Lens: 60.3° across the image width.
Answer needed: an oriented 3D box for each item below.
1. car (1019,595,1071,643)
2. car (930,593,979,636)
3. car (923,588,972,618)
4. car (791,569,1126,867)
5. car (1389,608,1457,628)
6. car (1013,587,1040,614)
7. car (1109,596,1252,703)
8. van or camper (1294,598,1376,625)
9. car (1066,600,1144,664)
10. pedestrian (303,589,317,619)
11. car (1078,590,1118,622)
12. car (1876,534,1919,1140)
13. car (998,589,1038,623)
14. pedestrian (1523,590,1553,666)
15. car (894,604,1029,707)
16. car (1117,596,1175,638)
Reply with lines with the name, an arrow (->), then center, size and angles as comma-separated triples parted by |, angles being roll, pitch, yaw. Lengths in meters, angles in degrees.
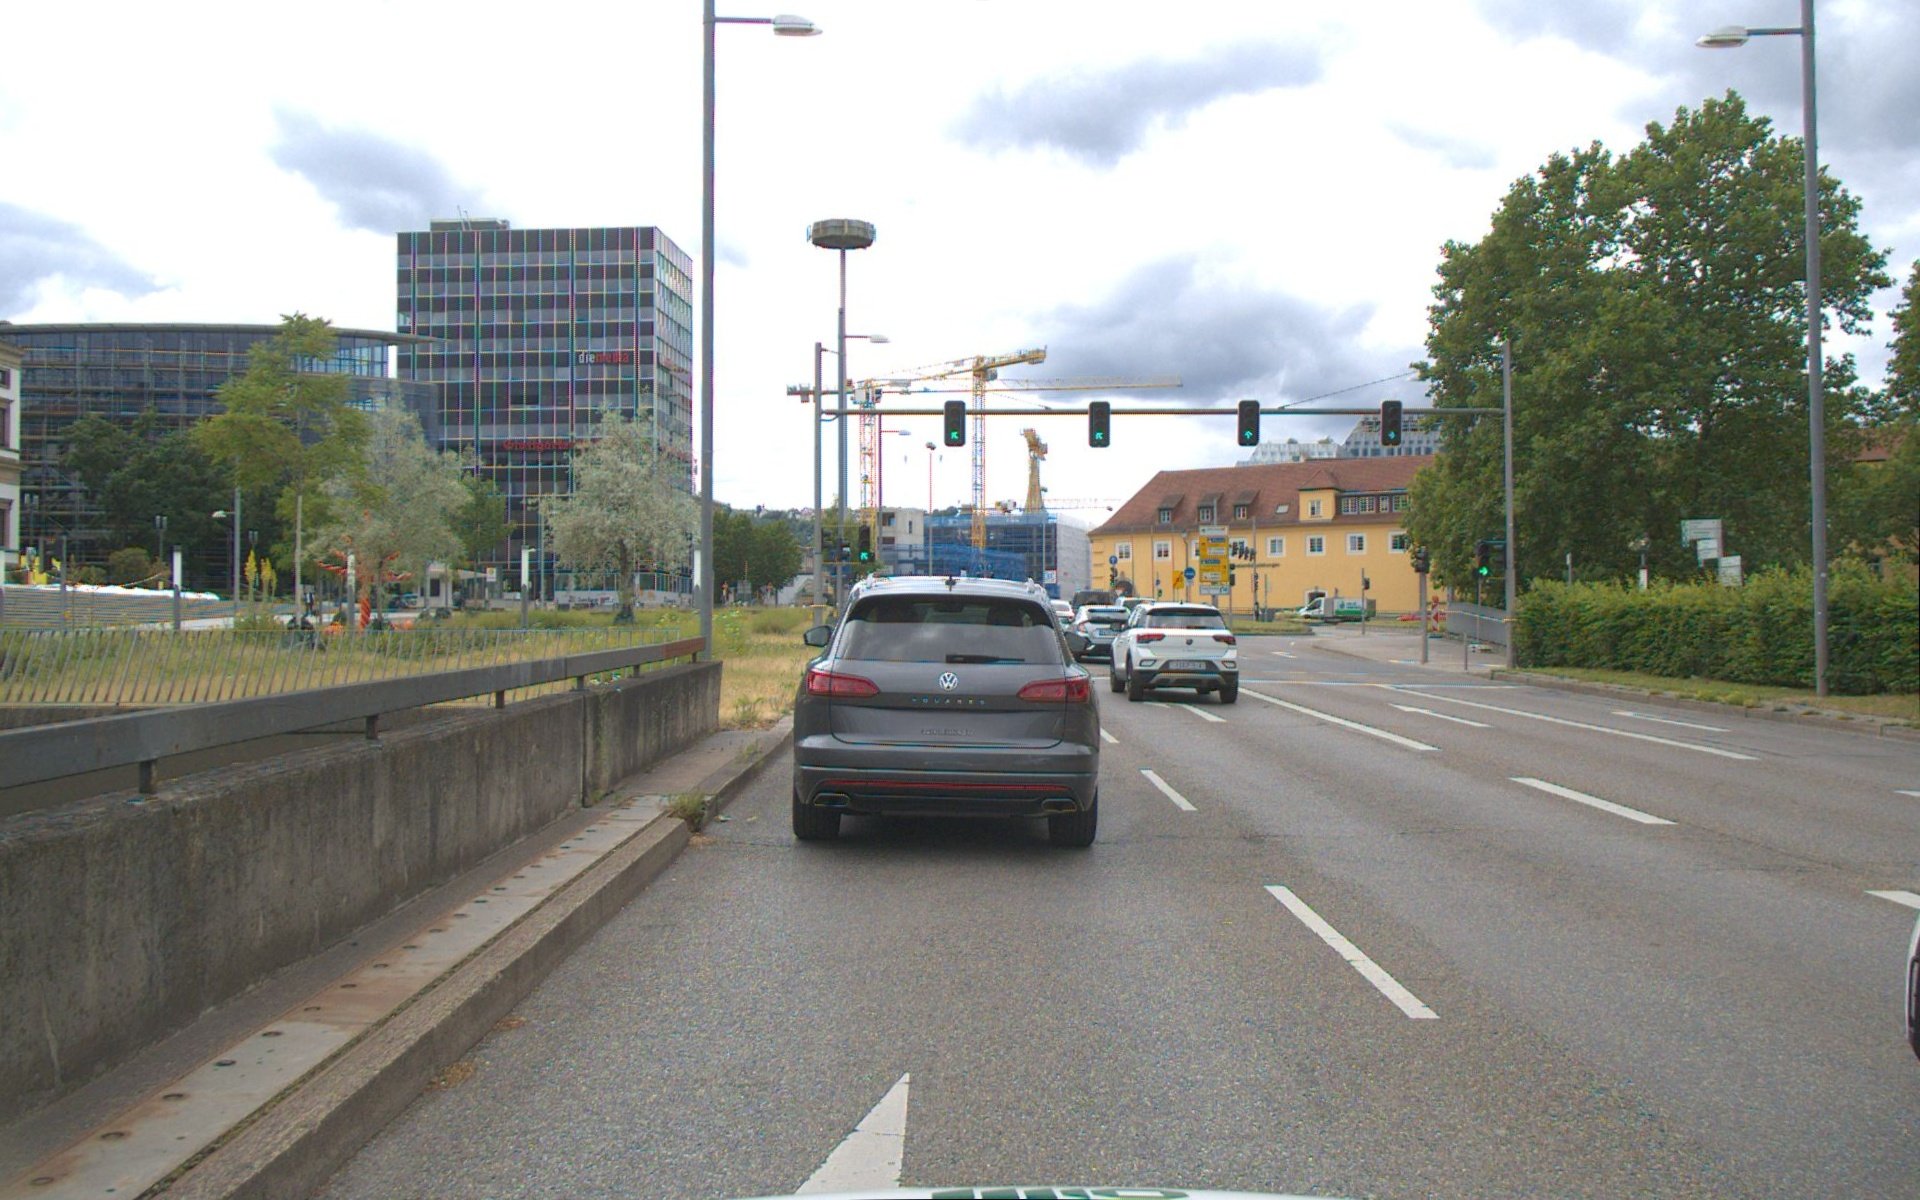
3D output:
car -> 2.905, 0.623, 56.322 | 1.683, 1.529, 3.983 | 1, 0, 4
car -> -0.212, 0.521, 62.242 | 1.777, 1.522, 3.906 | 1, 0, 0
car -> -0.701, 0.119, 87.760 | 2.201, 1.529, 4.606 | 1, 0, -6
car -> -0.017, 0.661, 11.435 | 1.893, 1.676, 4.000 | 1, 0, 0
car -> 34.654, 1.332, 123.841 | 4.593, 1.445, 1.593 | 0, -1, 32
car -> 5.239, 0.022, 130.876 | 1.953, 2.049, 4.000 | 1, 0, 0
car -> 3.600, 0.764, 27.602 | 1.855, 1.613, 3.800 | 1, 0, 0
van or camper -> 28.924, 0.865, 127.770 | 5.903, 2.049, 2.012 | 0, -1, 36
car -> 3.669, 0.778, 42.498 | 1.683, 1.529, 4.144 | 1, 0, 1
pedestrian -> -36.498, 0.246, 92.889 | 0.513, 1.678, 0.650 | 1, -1, -2
car -> 6.827, 0.290, 82.365 | 1.683, 1.529, 3.981 | 2, 0, 1
car -> 3.519, 0.677, 2.593 | 1.781, 1.676, 4.379 | 1, 0, 1
car -> 3.098, 0.335, 89.514 | 2.095, 1.758, 4.070 | 1, 0, 1
pedestrian -> 13.783, 0.671, 39.438 | 0.469, 1.795, 0.620 | 1, 0, -3
car -> 0.012, 0.809, 25.978 | 1.953, 1.411, 4.000 | 1, 1, 0
car -> 7.006, 0.618, 62.545 | 1.766, 1.529, 3.981 | 1, 0, 1
